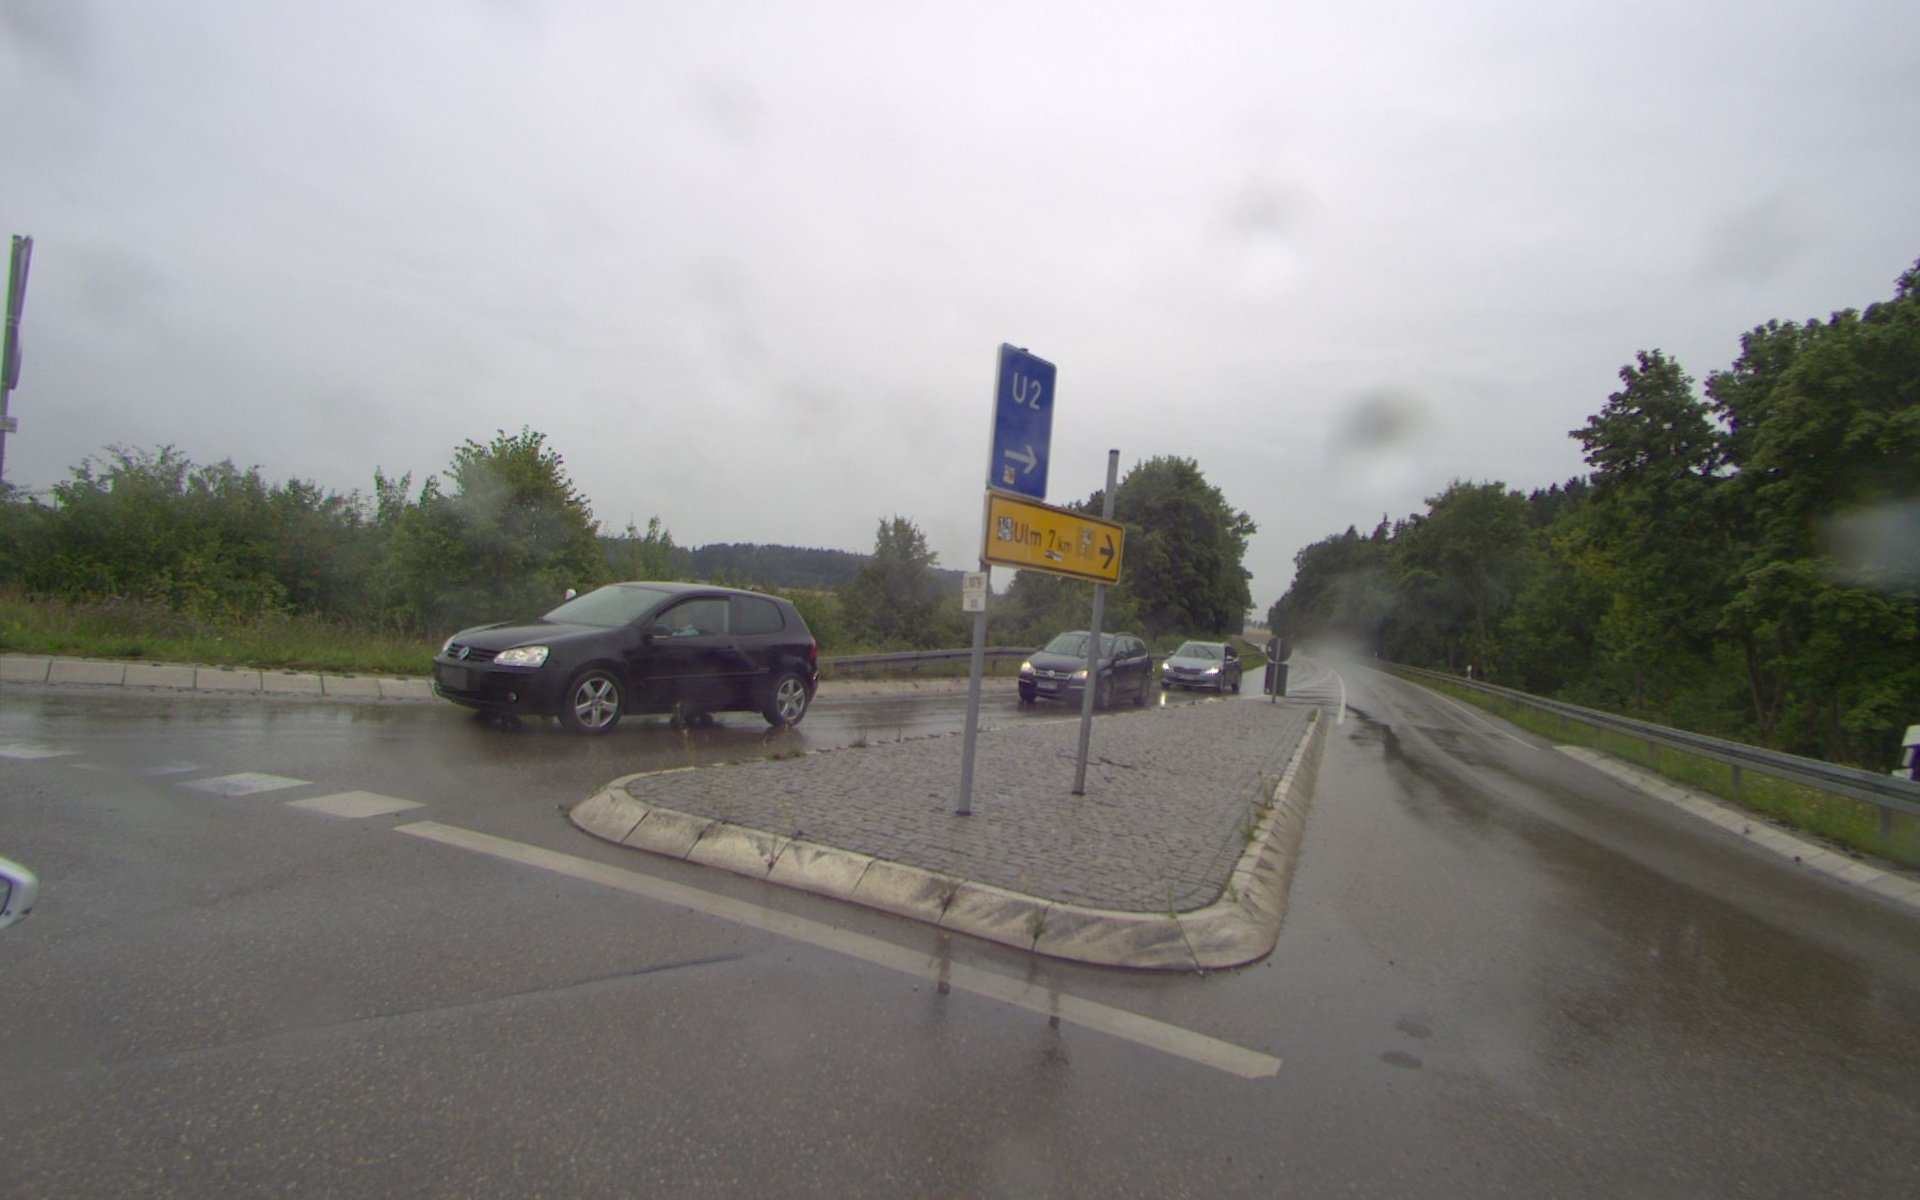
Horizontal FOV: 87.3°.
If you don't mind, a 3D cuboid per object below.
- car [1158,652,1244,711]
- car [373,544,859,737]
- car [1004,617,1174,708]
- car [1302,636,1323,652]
[{"bbox_3d":[7.476,2.484,30.911,1.732,1.438,4.503,7,-1,23],"label":"car"},{"bbox_3d":[-3.255,0.497,10.463,1.844,1.438,4.494,7,-1,33],"label":"car"},{"bbox_3d":[2.720,1.276,20.203,1.915,1.387,4.501,7,-1,26],"label":"car"},{"bbox_3d":[43.814,5.477,125.075,1.962,1.596,3.998,6,2,14],"label":"car"}]
